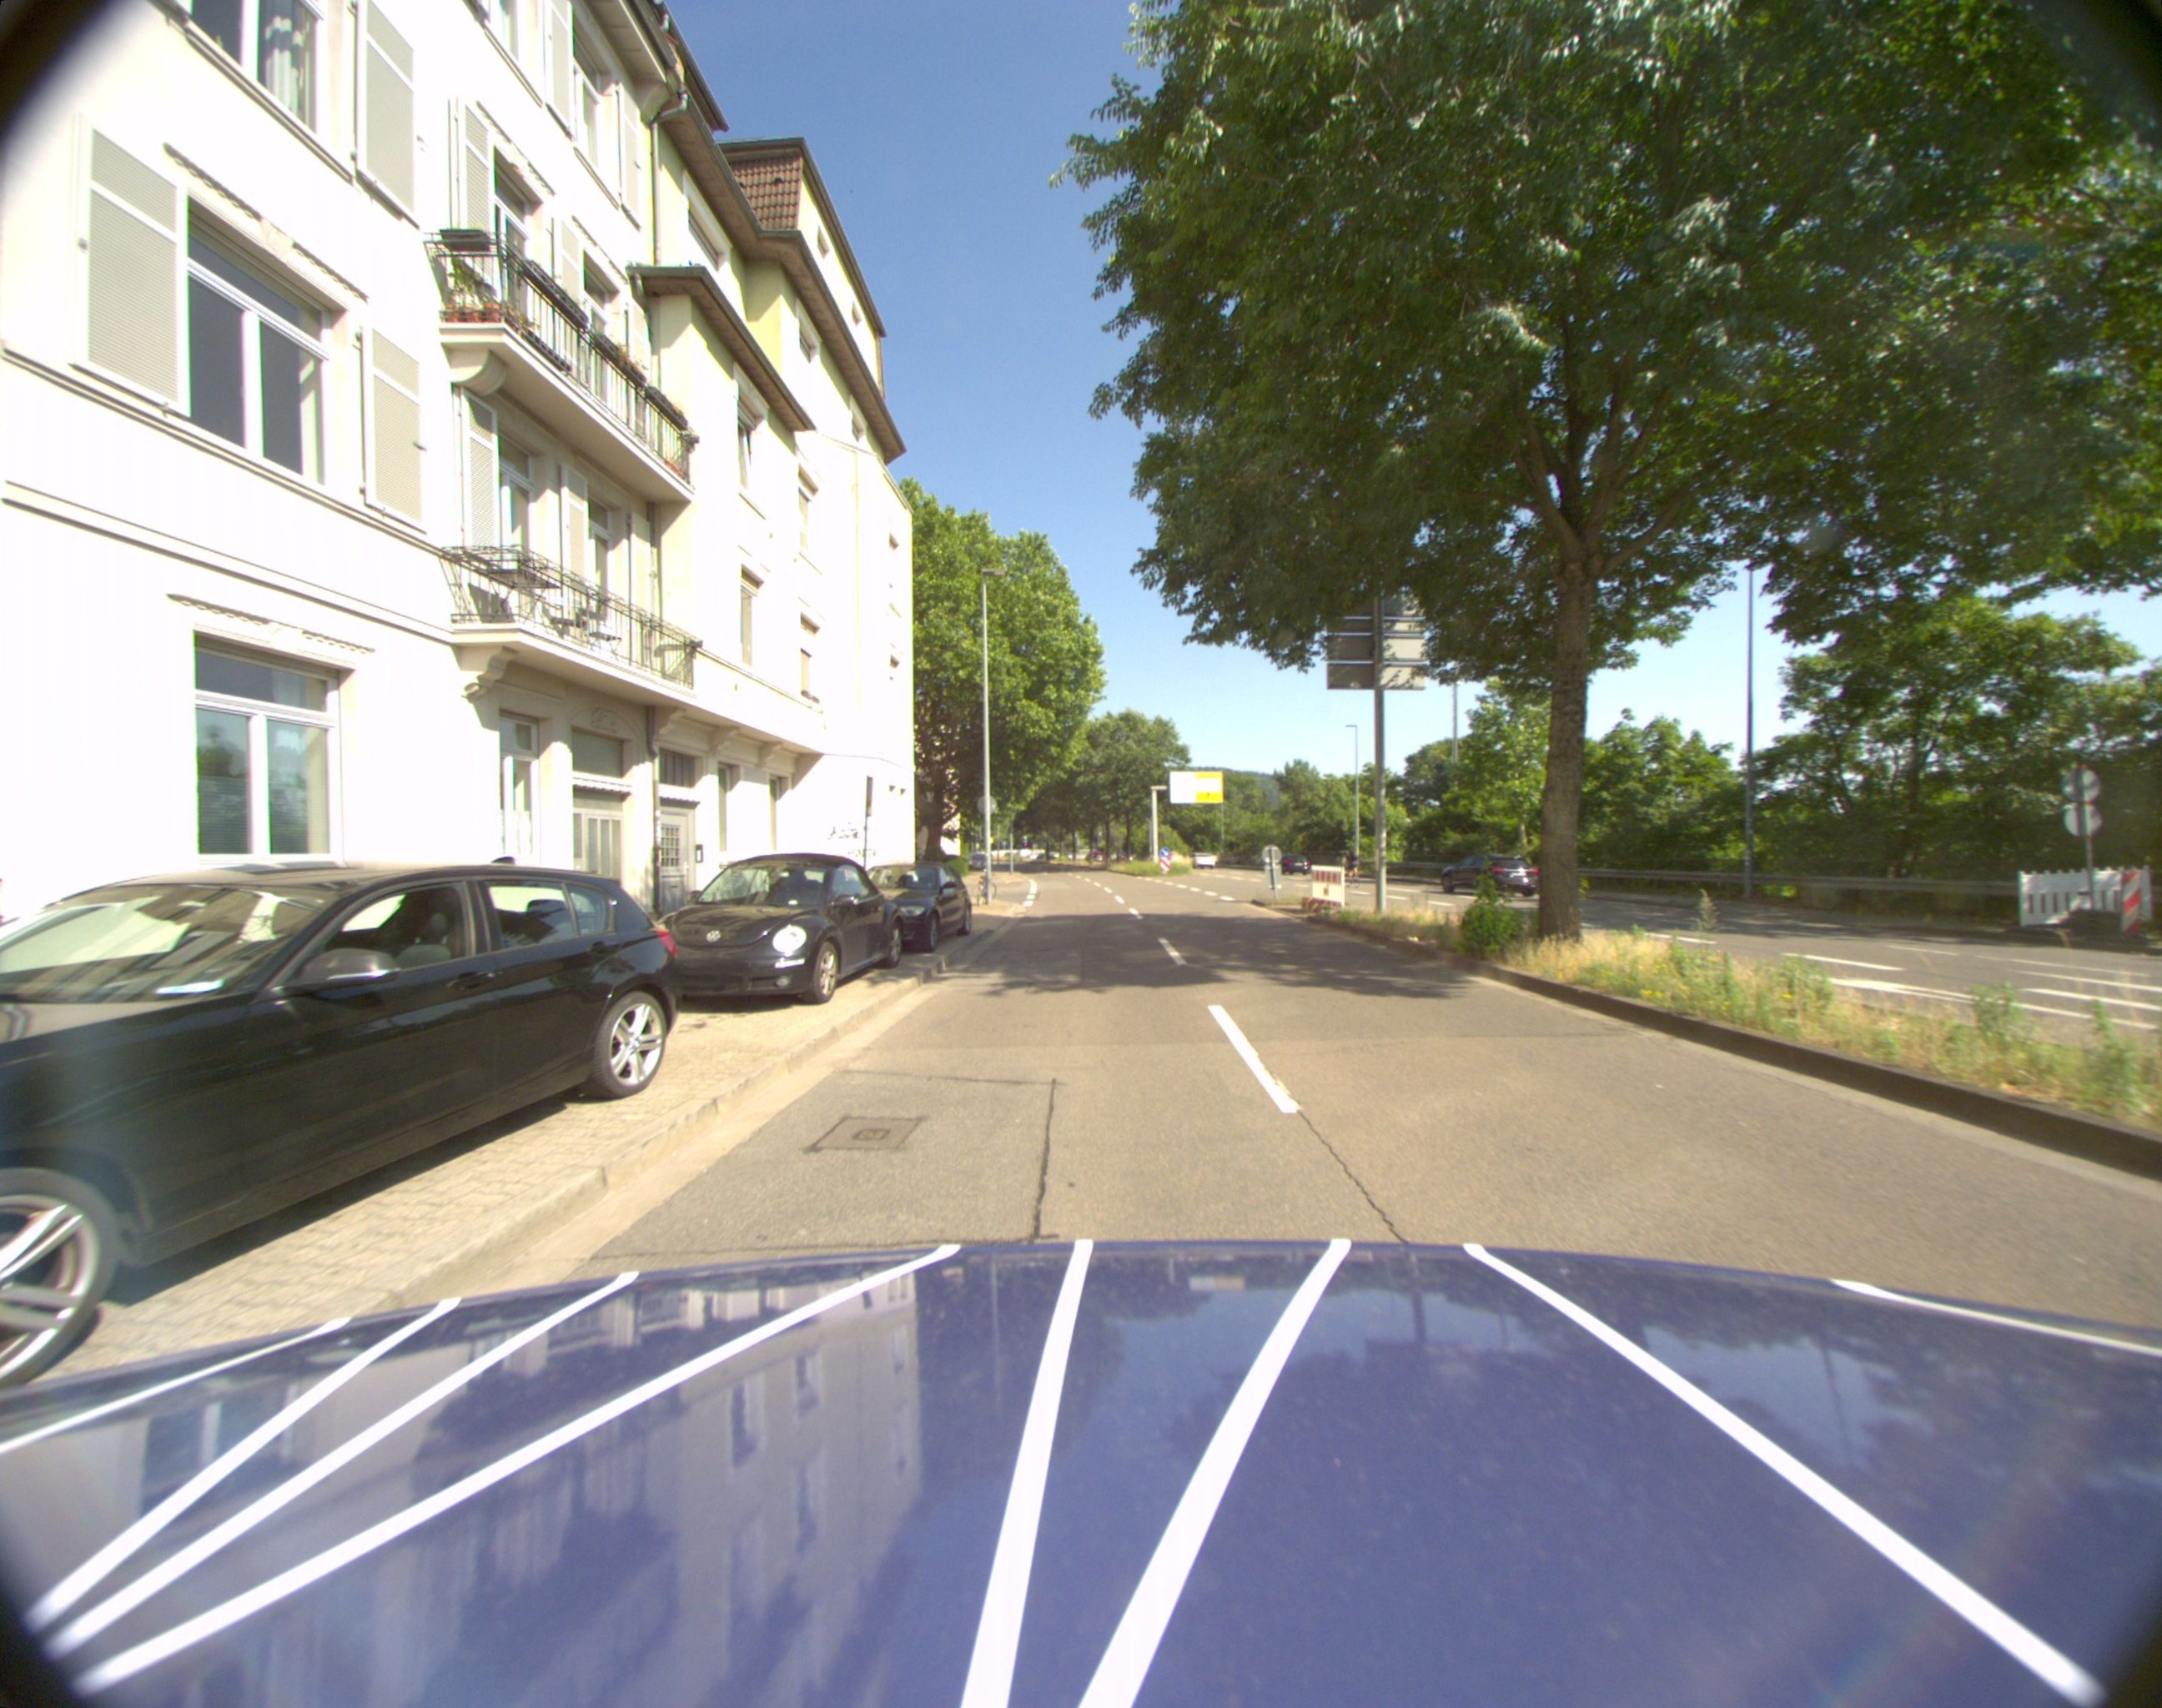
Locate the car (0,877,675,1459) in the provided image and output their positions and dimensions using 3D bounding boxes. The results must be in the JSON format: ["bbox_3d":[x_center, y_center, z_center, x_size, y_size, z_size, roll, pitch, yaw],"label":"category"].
[{"bbox_3d":[-3.641,0.887,3.001,1.646,1.444,4.127,0,0,4],"label":"car"}]

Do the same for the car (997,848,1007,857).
[{"bbox_3d":[-16.622,-0.289,159.567,1.636,1.801,3.587,0,1,-16],"label":"car"}]

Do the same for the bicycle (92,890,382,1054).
[{"bbox_3d":[-7.073,0.924,6.506,0.656,1.139,1.626,1,0,0],"label":"bicycle"}]

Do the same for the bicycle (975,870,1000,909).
[{"bbox_3d":[-2.822,1.053,23.062,0.578,1.081,1.734,-1,1,-2],"label":"bicycle"}]

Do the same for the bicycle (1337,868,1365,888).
[{"bbox_3d":[12.086,1.067,34.093,0.495,0.828,1.805,0,0,-5],"label":"bicycle"}]

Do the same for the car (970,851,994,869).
[{"bbox_3d":[-8.481,0.498,64.952,1.794,1.504,3.889,-1,0,-11],"label":"car"}]

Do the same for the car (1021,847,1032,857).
[{"bbox_3d":[-10.859,-0.342,151.359,1.635,1.904,3.675,0,0,-15],"label":"car"}]

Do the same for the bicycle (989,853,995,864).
[{"bbox_3d":[-9.475,0.469,81.229,0.554,1.182,1.286,0,0,-3],"label":"bicycle"}]

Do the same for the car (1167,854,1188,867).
[{"bbox_3d":[11.322,0.744,89.448,1.646,1.492,3.647,0,0,-7],"label":"car"}]

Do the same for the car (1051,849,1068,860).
[{"bbox_3d":[-3.684,0.095,131.665,2.001,1.880,3.994,-1,0,-15],"label":"car"}]

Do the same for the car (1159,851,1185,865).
[{"bbox_3d":[9.549,0.396,79.827,1.803,1.511,3.961,0,0,-7],"label":"car"}]

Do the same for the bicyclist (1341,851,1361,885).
[{"bbox_3d":[12.091,0.612,34.014,0.575,1.525,0.778,0,1,-5],"label":"bicyclist"}]

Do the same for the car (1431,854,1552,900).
[{"bbox_3d":[15.191,0.803,28.447,1.998,1.519,4.698,1,0,1],"label":"car"}]

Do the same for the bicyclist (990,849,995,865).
[{"bbox_3d":[-9.480,0.325,81.216,0.541,1.624,0.589,0,1,-4],"label":"bicyclist"}]

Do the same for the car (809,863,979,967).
[{"bbox_3d":[-2.985,0.902,13.041,1.744,1.408,4.081,1,0,3],"label":"car"}]

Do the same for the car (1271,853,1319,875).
[{"bbox_3d":[14.826,0.651,52.917,1.998,1.403,4.615,1,0,0],"label":"car"}]

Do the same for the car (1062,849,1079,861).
[{"bbox_3d":[-1.743,0.108,124.049,2.001,1.880,3.995,-1,0,-12],"label":"car"}]

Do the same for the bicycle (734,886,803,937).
[{"bbox_3d":[-6.750,1.216,16.522,0.609,0.940,2.114,0,0,1],"label":"bicycle"}]

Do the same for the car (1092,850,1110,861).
[{"bbox_3d":[3.235,0.244,123.059,1.924,1.654,4.307,0,0,-13],"label":"car"}]

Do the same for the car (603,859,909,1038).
[{"bbox_3d":[-3.285,0.835,8.609,1.646,1.492,4.010,1,0,2],"label":"car"}]

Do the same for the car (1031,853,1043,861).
[{"bbox_3d":[-8.419,0.518,144.847,1.635,1.487,3.675,-1,0,-15],"label":"car"}]

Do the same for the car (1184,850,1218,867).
[{"bbox_3d":[10.898,0.397,69.062,1.870,1.444,4.201,1,0,-8],"label":"car"}]

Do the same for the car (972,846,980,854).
[{"bbox_3d":[-25.733,-1.010,185.875,1.636,1.801,3.587,0,0,-16],"label":"car"}]

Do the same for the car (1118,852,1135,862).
[{"bbox_3d":[6.513,0.402,108.294,1.681,1.461,3.573,0,0,-9],"label":"car"}]

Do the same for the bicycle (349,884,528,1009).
[{"bbox_3d":[-6.990,0.951,8.383,0.567,1.173,1.626,0,0,0],"label":"bicycle"}]
